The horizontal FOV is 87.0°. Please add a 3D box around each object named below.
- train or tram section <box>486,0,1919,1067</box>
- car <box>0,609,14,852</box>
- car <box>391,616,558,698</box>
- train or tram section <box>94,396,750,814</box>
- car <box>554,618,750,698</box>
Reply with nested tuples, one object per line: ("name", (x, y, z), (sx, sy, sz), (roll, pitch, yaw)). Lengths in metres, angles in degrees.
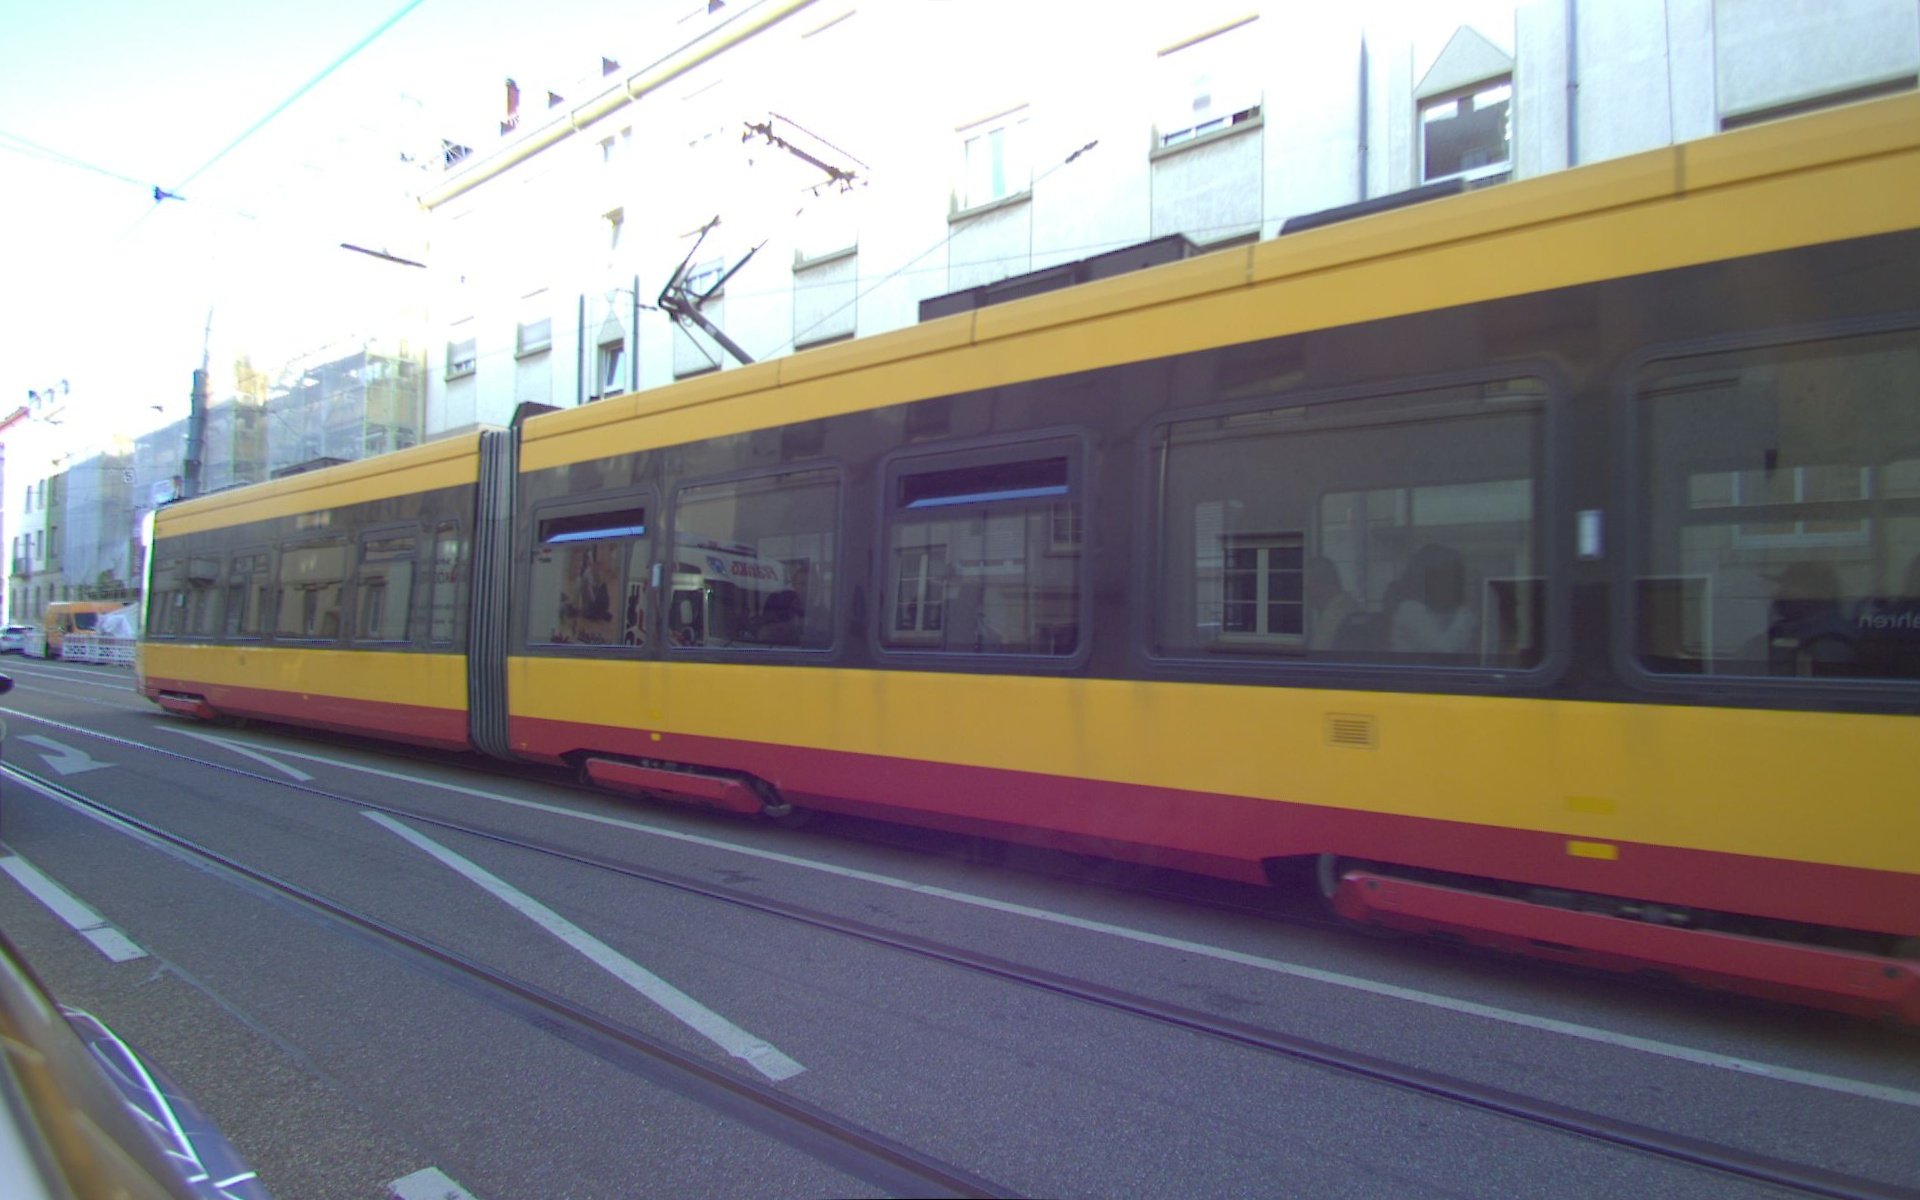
("train or tram section", (0.311, -0.326, 7.062), (9.072, 3.658, 2.798), (-1, 0, 38))
("car", (-8.004, 0.828, 6.990), (3.997, 1.515, 1.670), (-1, -3, 40))
("car", (-10.760, 1.181, 22.328), (4.108, 1.603, 1.691), (-1, 0, 38))
("train or tram section", (-8.227, 0.176, 13.879), (12.613, 3.621, 3.032), (-1, -3, 38))
("car", (-5.698, 0.998, 18.620), (3.483, 1.286, 1.730), (-1, 0, 37))
